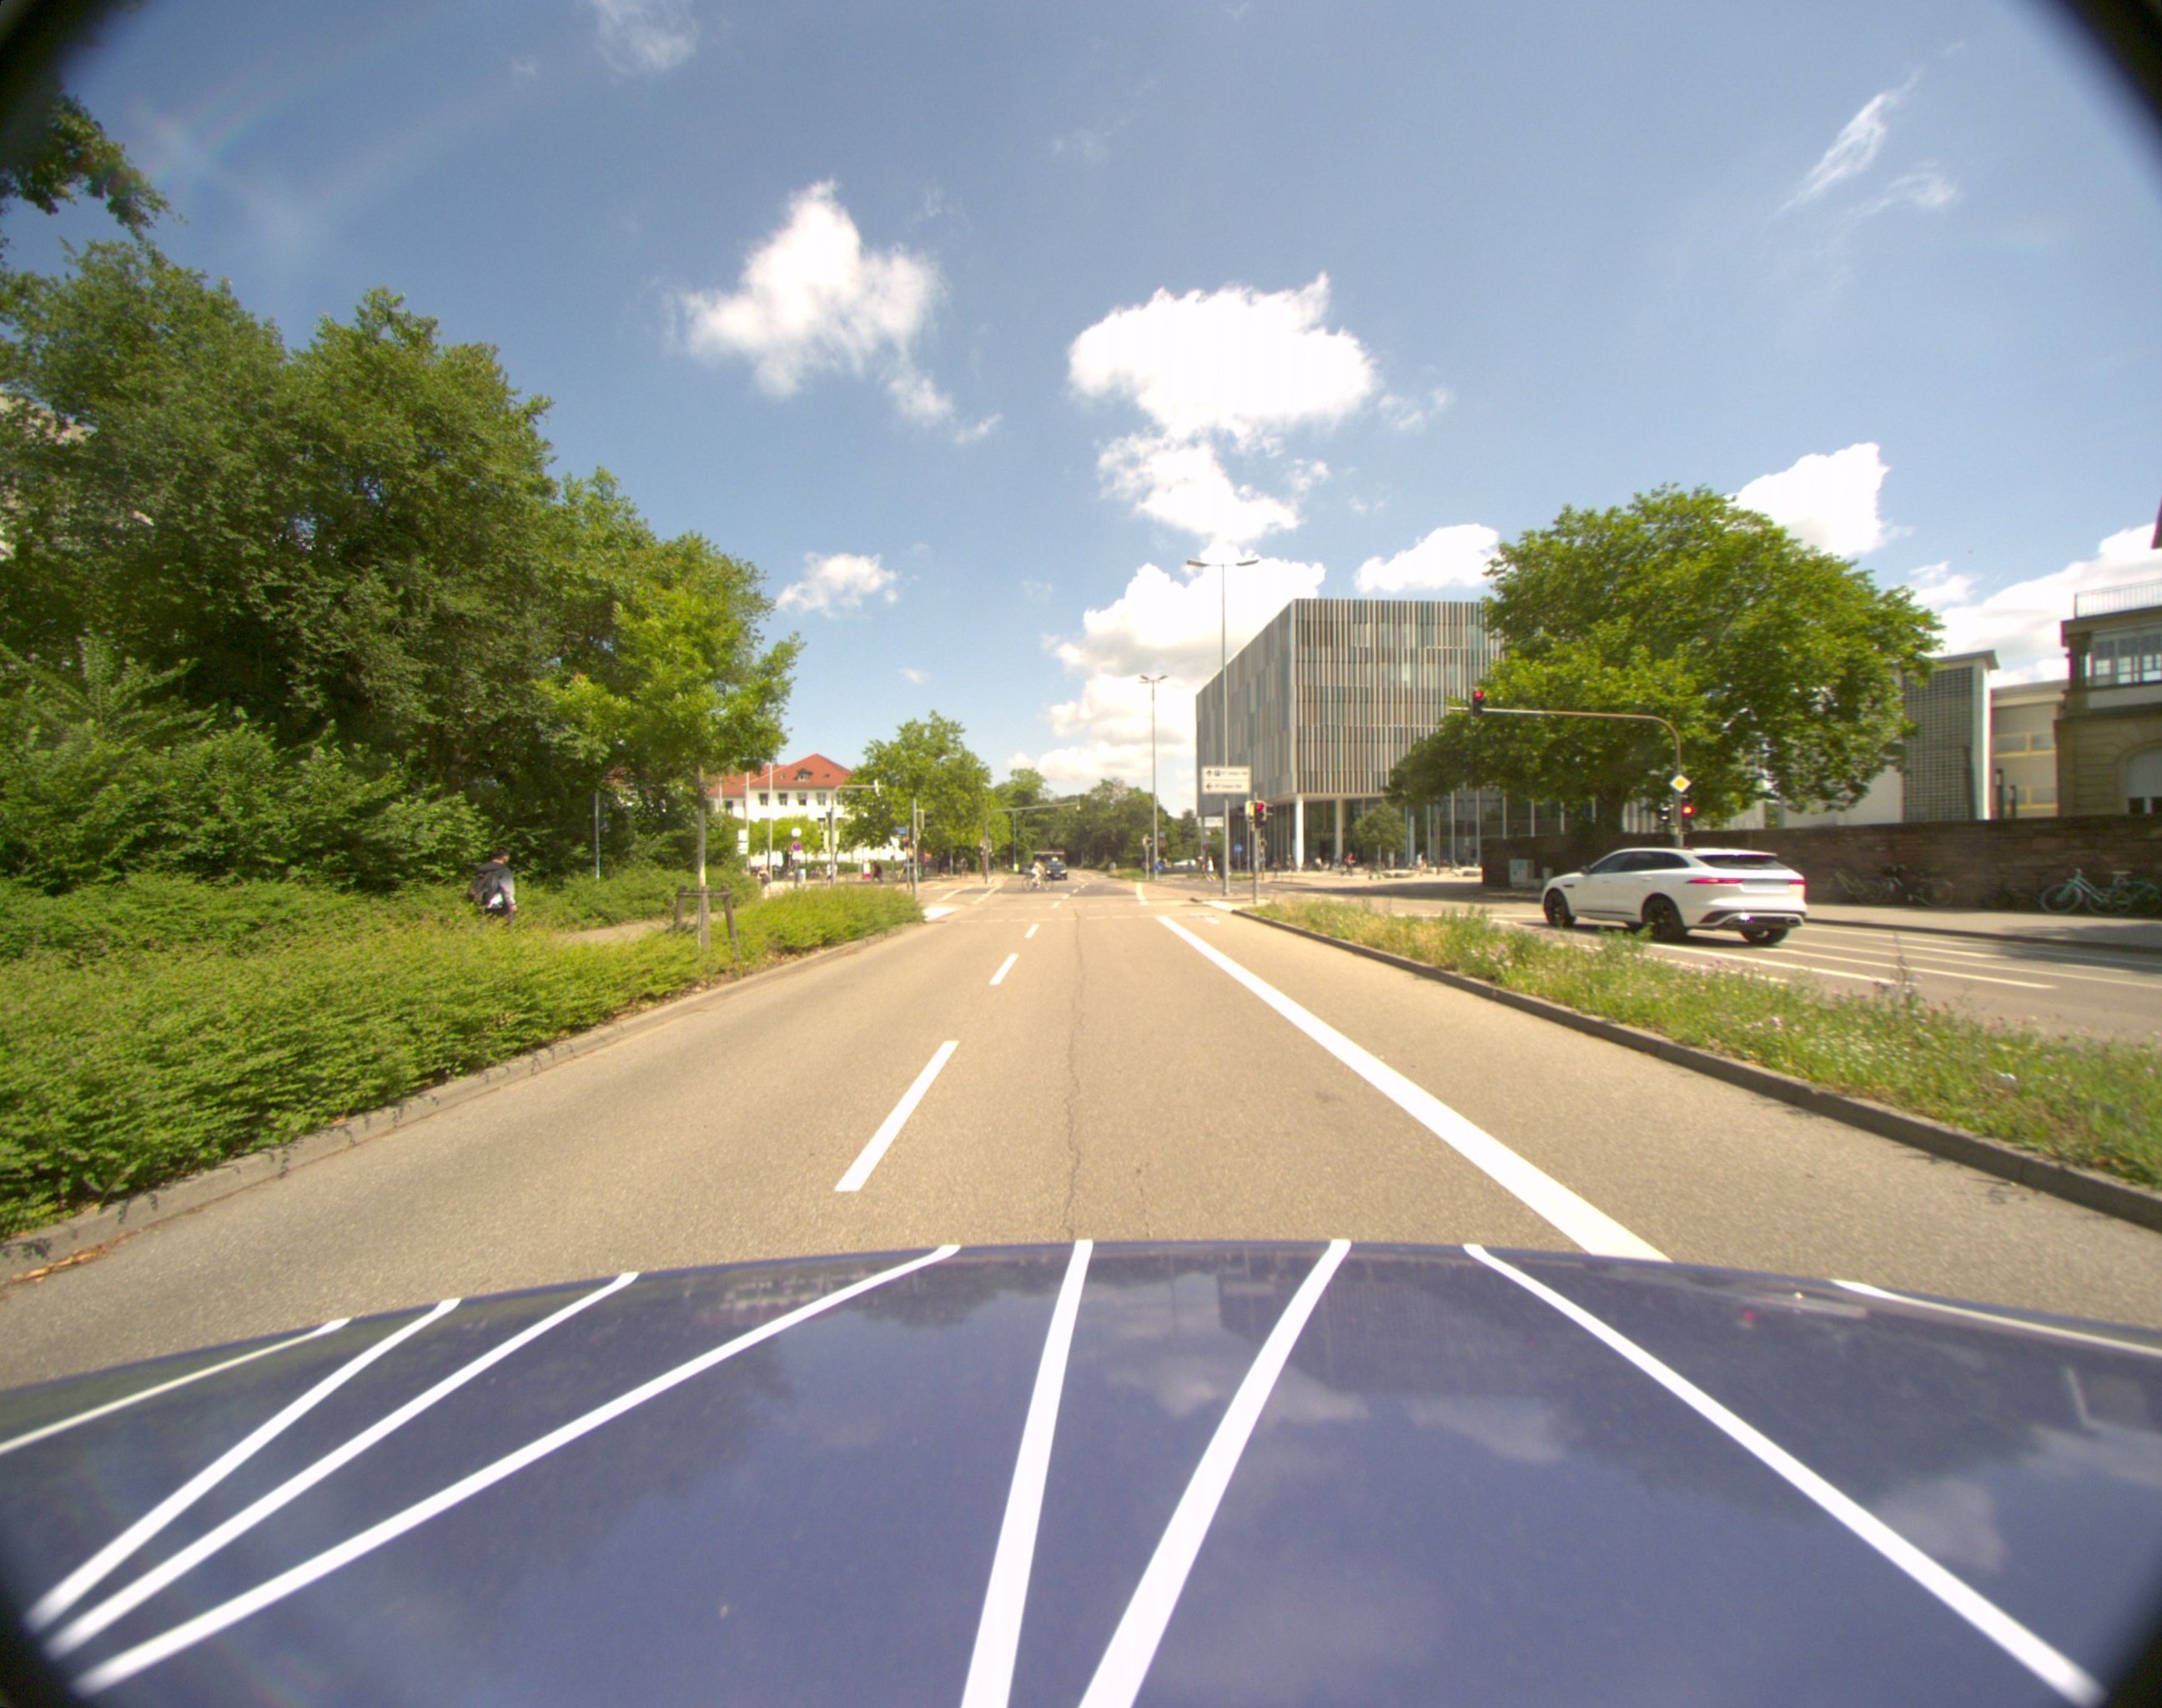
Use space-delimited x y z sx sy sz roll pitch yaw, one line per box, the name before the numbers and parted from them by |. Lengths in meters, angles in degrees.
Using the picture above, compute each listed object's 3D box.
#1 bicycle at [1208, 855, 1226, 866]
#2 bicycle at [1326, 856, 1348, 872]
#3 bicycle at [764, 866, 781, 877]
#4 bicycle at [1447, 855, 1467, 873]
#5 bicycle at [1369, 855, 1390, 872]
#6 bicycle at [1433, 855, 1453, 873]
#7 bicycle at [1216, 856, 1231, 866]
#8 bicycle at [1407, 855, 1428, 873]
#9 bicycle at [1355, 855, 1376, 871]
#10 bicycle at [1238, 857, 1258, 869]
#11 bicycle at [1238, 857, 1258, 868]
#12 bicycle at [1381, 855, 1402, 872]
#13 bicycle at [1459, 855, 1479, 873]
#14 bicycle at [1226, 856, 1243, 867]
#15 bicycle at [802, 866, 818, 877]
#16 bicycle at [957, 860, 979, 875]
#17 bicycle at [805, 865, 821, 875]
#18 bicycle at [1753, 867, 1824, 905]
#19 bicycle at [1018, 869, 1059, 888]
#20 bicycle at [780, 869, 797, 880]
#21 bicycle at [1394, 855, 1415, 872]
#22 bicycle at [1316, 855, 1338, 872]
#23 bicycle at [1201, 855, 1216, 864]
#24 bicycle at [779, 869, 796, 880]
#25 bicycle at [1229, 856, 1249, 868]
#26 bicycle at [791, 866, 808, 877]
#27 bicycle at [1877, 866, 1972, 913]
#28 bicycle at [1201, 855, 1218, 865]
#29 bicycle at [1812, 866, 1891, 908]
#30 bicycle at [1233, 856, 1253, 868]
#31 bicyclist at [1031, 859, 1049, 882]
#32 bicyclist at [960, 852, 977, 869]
bicycle | 20.214 0.956 112.934 2.511 1.486 0.621 -1 0 -1
bicycle | 25.277 1.001 75.018 0.930 1.485 2.693 0 0 44
bicycle | -27.447 1.569 67.537 1.371 0.995 0.352 -1 0 -7
bicycle | 33.149 0.847 66.900 0.997 1.543 3.422 -1 0 36
bicycle | 28.324 0.866 72.131 0.997 1.543 3.422 0 0 36
bicycle | 32.235 0.875 67.582 0.997 1.543 3.422 0 0 36
bicycle | 20.689 0.977 110.380 2.071 1.486 0.621 -1 0 -1
bicycle | 30.667 0.875 69.193 0.997 1.543 3.422 0 0 36
bicycle | 27.404 0.864 73.148 1.049 1.543 3.422 0 0 36
bicycle | 21.362 1.103 97.274 2.452 1.486 0.621 -1 0 -1
bicycle | 21.626 1.089 98.286 2.509 1.486 0.730 -1 0 9
bicycle | 29.121 0.867 71.268 0.997 1.543 3.422 0 0 36
bicycle | 33.304 0.859 65.245 0.997 1.543 3.422 0 0 36
bicycle | 21.059 1.037 104.052 2.200 1.486 0.621 -1 0 -1
bicycle | -24.778 1.616 69.484 1.371 0.945 0.352 -1 0 -7
bicycle | -9.393 1.103 63.171 0.887 1.244 2.160 -1 0 -34
bicycle | -25.416 1.551 72.059 1.371 0.945 0.352 -1 0 -7
bicycle | 21.625 0.971 23.264 0.573 1.092 1.593 -1 0 -9
bicycle | -2.367 1.365 41.952 2.165 0.992 0.646 -1 0 -18
bicycle | -25.622 1.769 66.590 1.371 0.941 0.352 -1 0 -7
bicycle | 29.967 0.870 70.363 0.997 1.543 3.422 0 0 36
bicycle | 24.494 0.919 75.733 0.808 1.634 3.422 0 0 41
bicycle | 20.046 0.889 119.725 2.303 1.486 0.657 -1 0 -1
bicycle | -25.503 1.775 66.025 1.371 0.945 0.352 -1 0 -7
bicycle | 20.979 1.069 100.954 2.511 1.486 0.621 -1 0 -1
bicycle | -25.206 1.572 68.153 1.371 0.945 0.352 -1 0 -7
bicycle | 22.067 0.903 19.923 0.623 1.145 1.593 -1 0 -9
bicycle | 19.979 0.902 118.437 2.511 1.486 0.621 -1 0 -1
bicycle | 21.895 0.919 21.634 0.500 1.145 1.593 -1 0 -9
bicycle | 21.701 1.053 101.868 2.511 1.486 0.621 -1 0 -1
bicyclist | -2.273 0.901 41.953 0.834 1.219 0.617 -1 0 -18
bicyclist | -9.303 0.523 63.029 0.974 1.436 1.074 -1 1 -35
